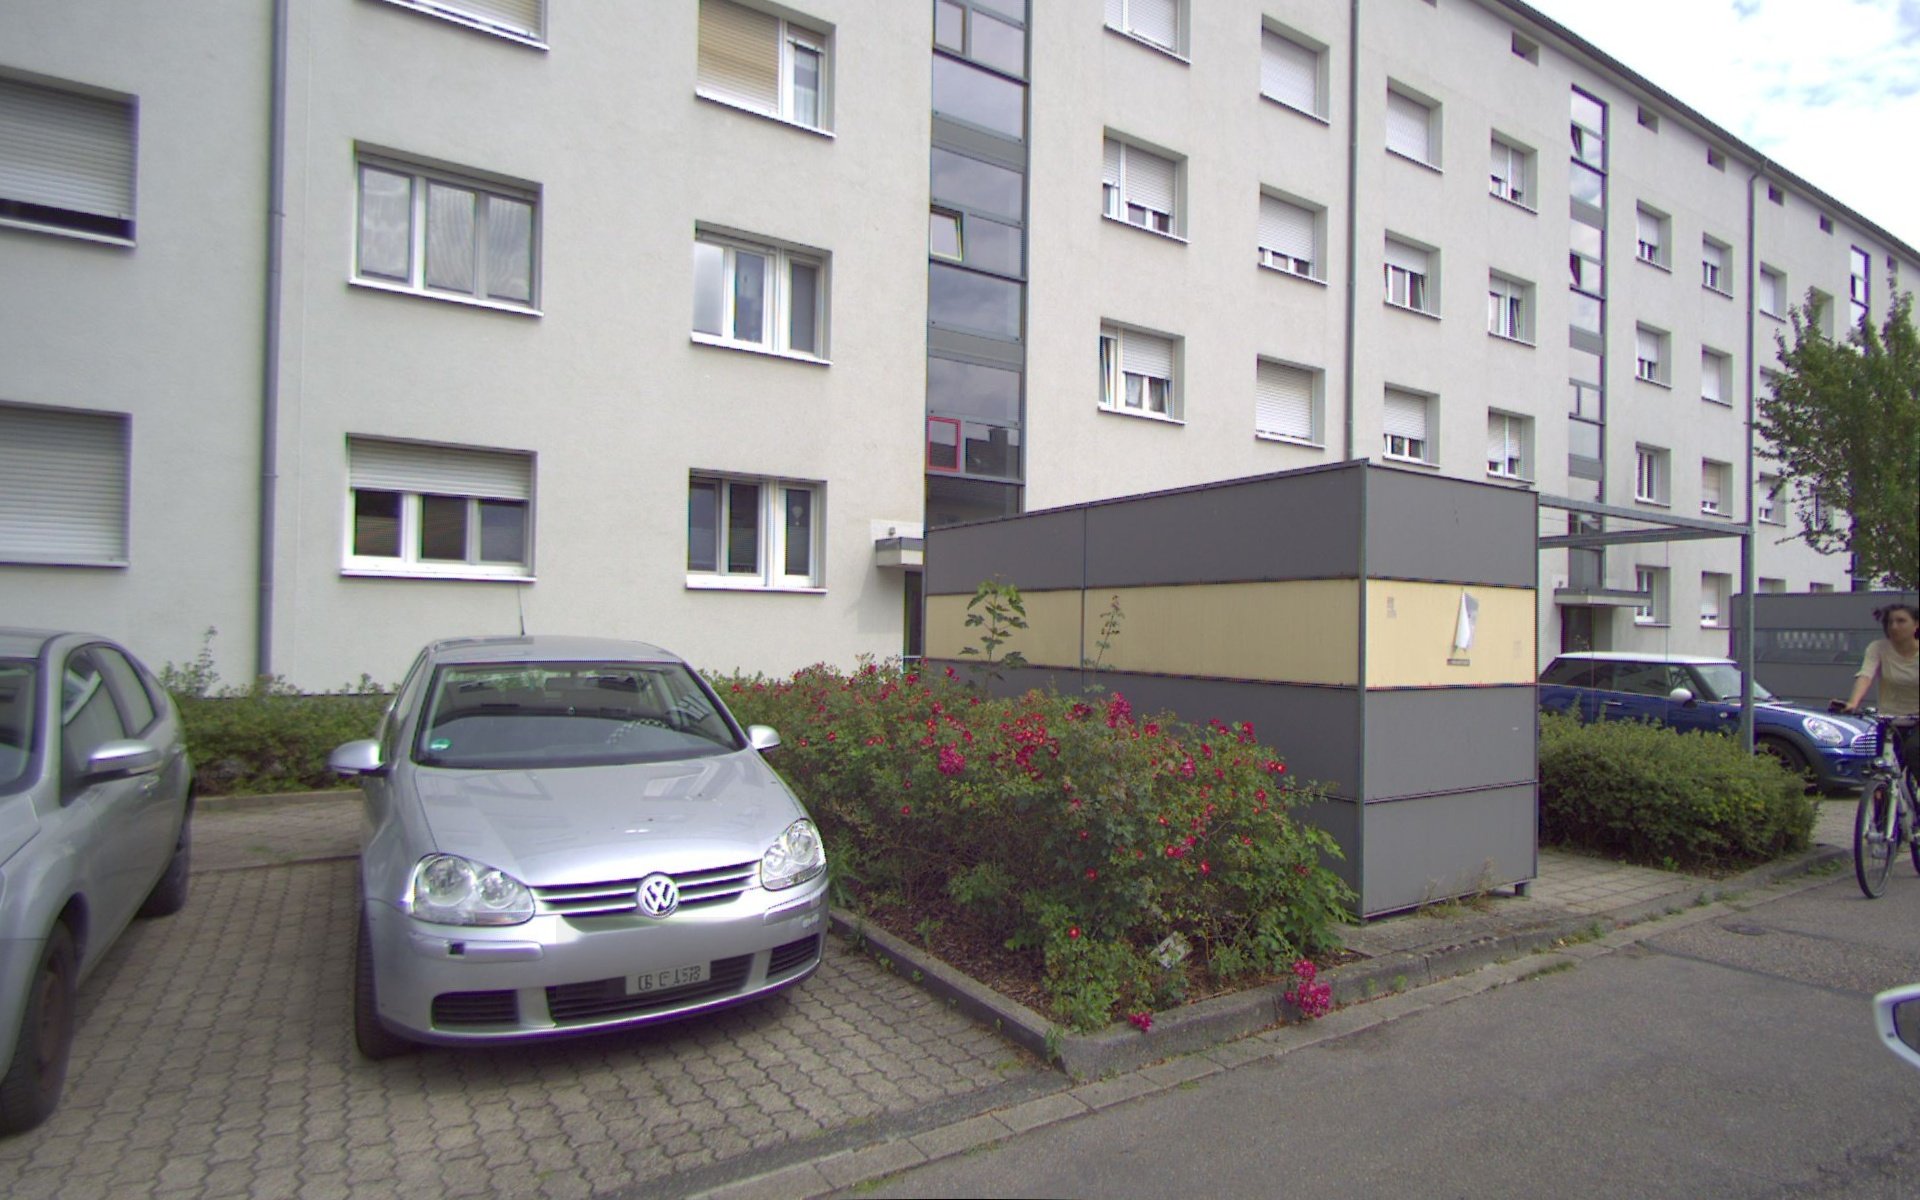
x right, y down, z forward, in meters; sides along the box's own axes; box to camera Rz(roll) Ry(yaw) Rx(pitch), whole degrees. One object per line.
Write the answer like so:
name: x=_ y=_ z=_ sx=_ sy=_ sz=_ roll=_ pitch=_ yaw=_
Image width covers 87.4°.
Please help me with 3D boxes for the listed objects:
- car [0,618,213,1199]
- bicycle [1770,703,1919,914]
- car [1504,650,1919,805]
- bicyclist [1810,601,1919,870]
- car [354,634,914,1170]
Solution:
car: x=-4.079 y=0.843 z=3.653 sx=1.762 sy=1.525 sz=4.031 roll=2 pitch=-3 yaw=-31
bicycle: x=5.960 y=1.240 z=6.367 sx=2.019 sy=1.090 sz=0.594 roll=2 pitch=-3 yaw=-31
car: x=8.597 y=1.345 z=11.785 sx=1.632 sy=1.480 sz=3.621 roll=2 pitch=-3 yaw=-28
bicyclist: x=5.953 y=0.827 z=6.380 sx=0.758 sy=1.601 sz=0.594 roll=2 pitch=-3 yaw=-30
car: x=-1.965 y=0.929 z=5.002 sx=1.762 sy=1.483 sz=4.031 roll=2 pitch=-3 yaw=-31
